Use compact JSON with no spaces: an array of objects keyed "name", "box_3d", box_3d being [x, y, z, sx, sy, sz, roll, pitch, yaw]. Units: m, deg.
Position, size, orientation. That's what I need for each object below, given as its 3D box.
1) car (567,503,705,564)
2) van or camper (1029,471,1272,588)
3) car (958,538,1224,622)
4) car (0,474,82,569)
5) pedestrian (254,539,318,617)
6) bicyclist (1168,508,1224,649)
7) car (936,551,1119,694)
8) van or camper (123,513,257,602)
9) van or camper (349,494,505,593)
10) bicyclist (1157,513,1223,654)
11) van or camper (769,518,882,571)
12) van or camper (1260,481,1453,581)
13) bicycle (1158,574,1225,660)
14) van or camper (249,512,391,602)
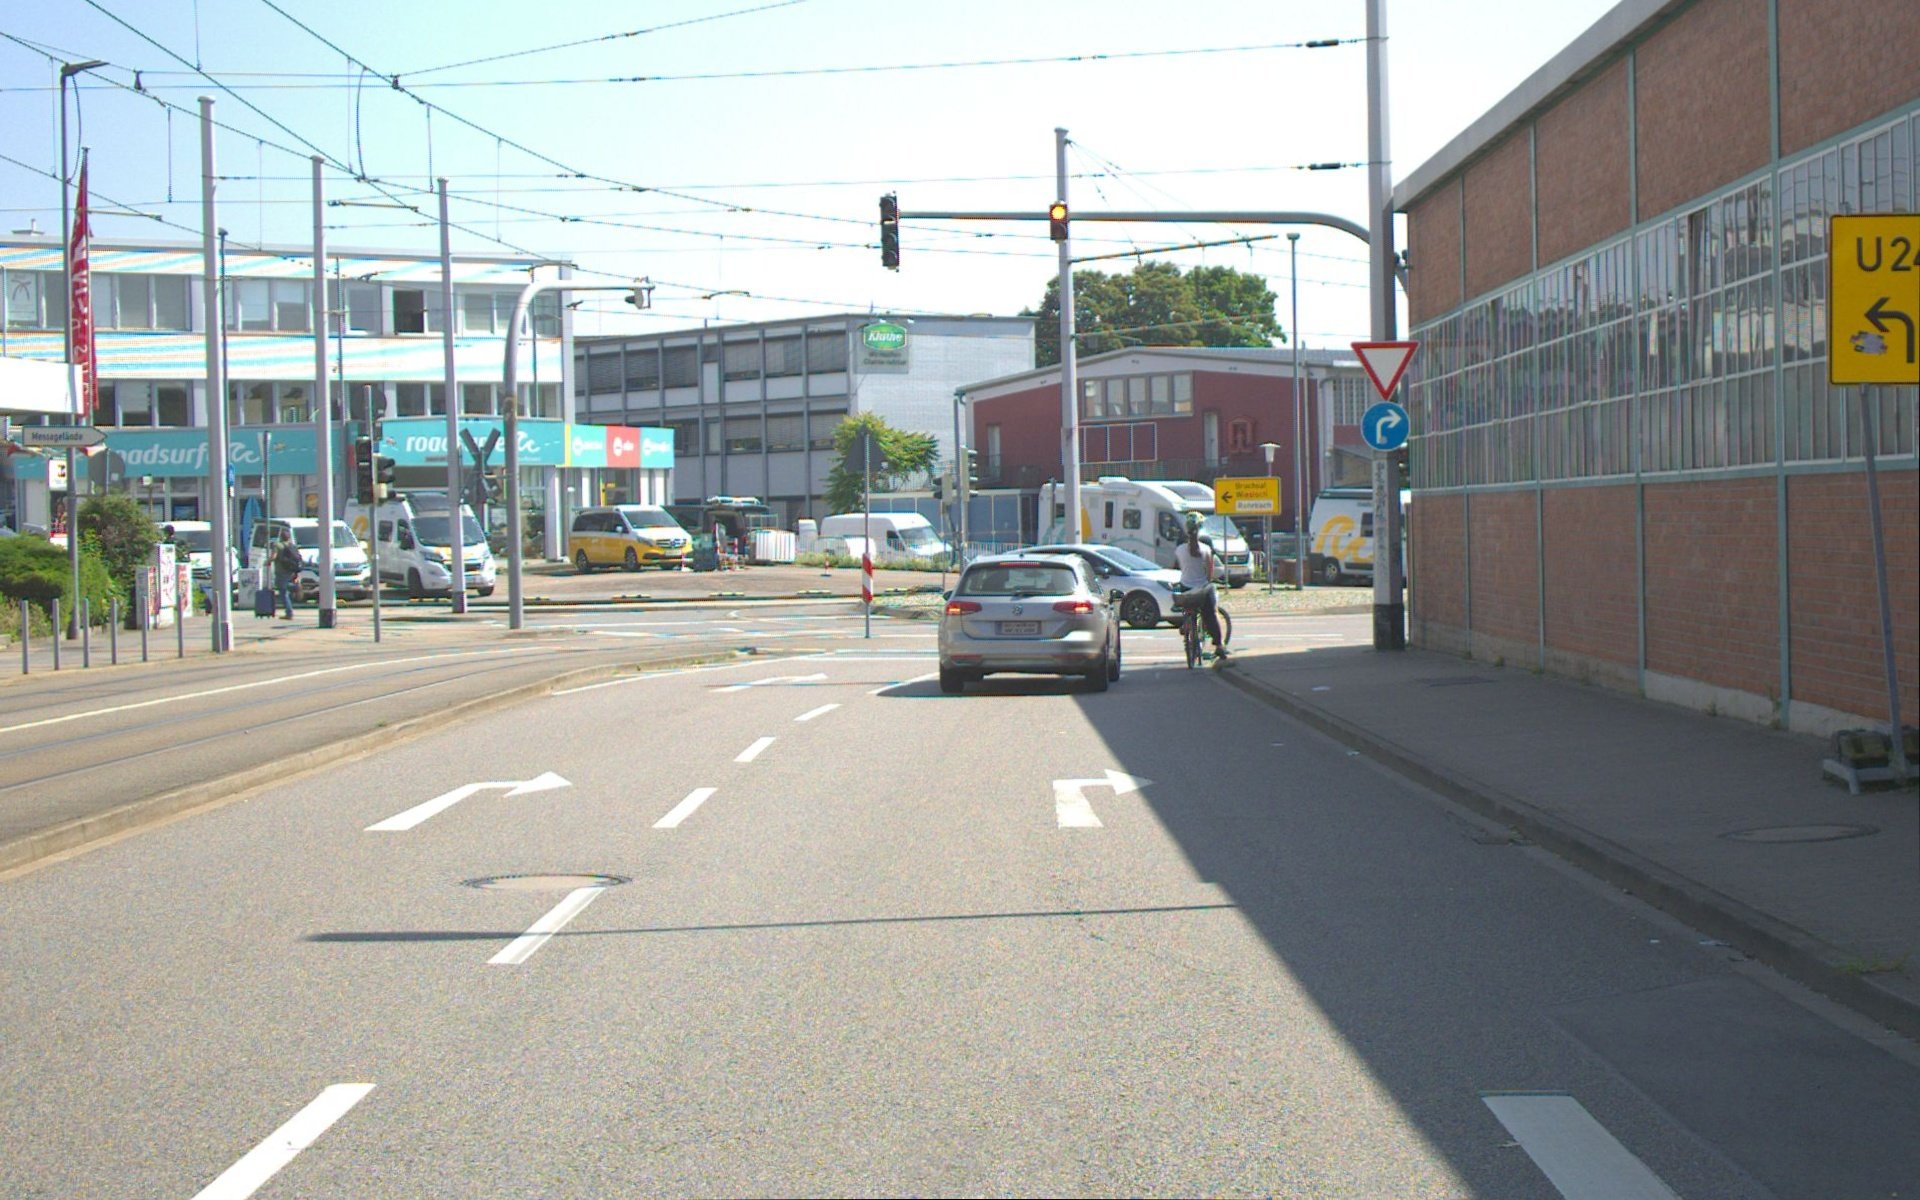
[{"name":"car","box_3d":[-9.597,-1.950,101.446,1.938,1.753,5.122,-1,1,-32]},{"name":"van or camper","box_3d":[5.075,-1.964,92.791,2.347,2.920,6.984,-3,4,-41]},{"name":"car","box_3d":[2.229,-0.338,58.849,4.199,1.370,1.800,0,1,33]},{"name":"car","box_3d":[-16.977,-1.325,57.535,3.987,1.513,2.000,0,3,4]},{"name":"pedestrian","box_3d":[-12.792,-0.424,65.260,1.129,1.450,0.838,-1,1,-8]},{"name":"bicyclist","box_3d":[3.056,-0.285,44.555,0.708,1.804,0.983,0,1,3]},{"name":"car","box_3d":[0.793,0.212,37.802,1.746,1.454,4.000,-1,1,5]},{"name":"van or camper","box_3d":[-19.302,-1.090,86.023,1.993,2.006,4.763,-2,4,-29]},{"name":"van or camper","box_3d":[-13.625,-1.486,87.643,2.031,2.288,5.813,-2,4,-29]},{"name":"bicyclist","box_3d":[2.839,-0.208,42.315,0.786,1.716,1.147,0,1,4]},{"name":"van or camper","box_3d":[-4.997,-2.065,127.476,1.995,1.941,3.997,-1,1,-45]},{"name":"van or camper","box_3d":[10.913,-1.947,95.080,2.282,2.431,5.386,-3,5,-35]},{"name":"bicycle","box_3d":[2.877,0.196,42.617,0.794,1.018,2.150,0,1,5]},{"name":"van or camper","box_3d":[-16.055,-1.117,86.105,1.993,2.006,5.011,-2,4,-29]}]
